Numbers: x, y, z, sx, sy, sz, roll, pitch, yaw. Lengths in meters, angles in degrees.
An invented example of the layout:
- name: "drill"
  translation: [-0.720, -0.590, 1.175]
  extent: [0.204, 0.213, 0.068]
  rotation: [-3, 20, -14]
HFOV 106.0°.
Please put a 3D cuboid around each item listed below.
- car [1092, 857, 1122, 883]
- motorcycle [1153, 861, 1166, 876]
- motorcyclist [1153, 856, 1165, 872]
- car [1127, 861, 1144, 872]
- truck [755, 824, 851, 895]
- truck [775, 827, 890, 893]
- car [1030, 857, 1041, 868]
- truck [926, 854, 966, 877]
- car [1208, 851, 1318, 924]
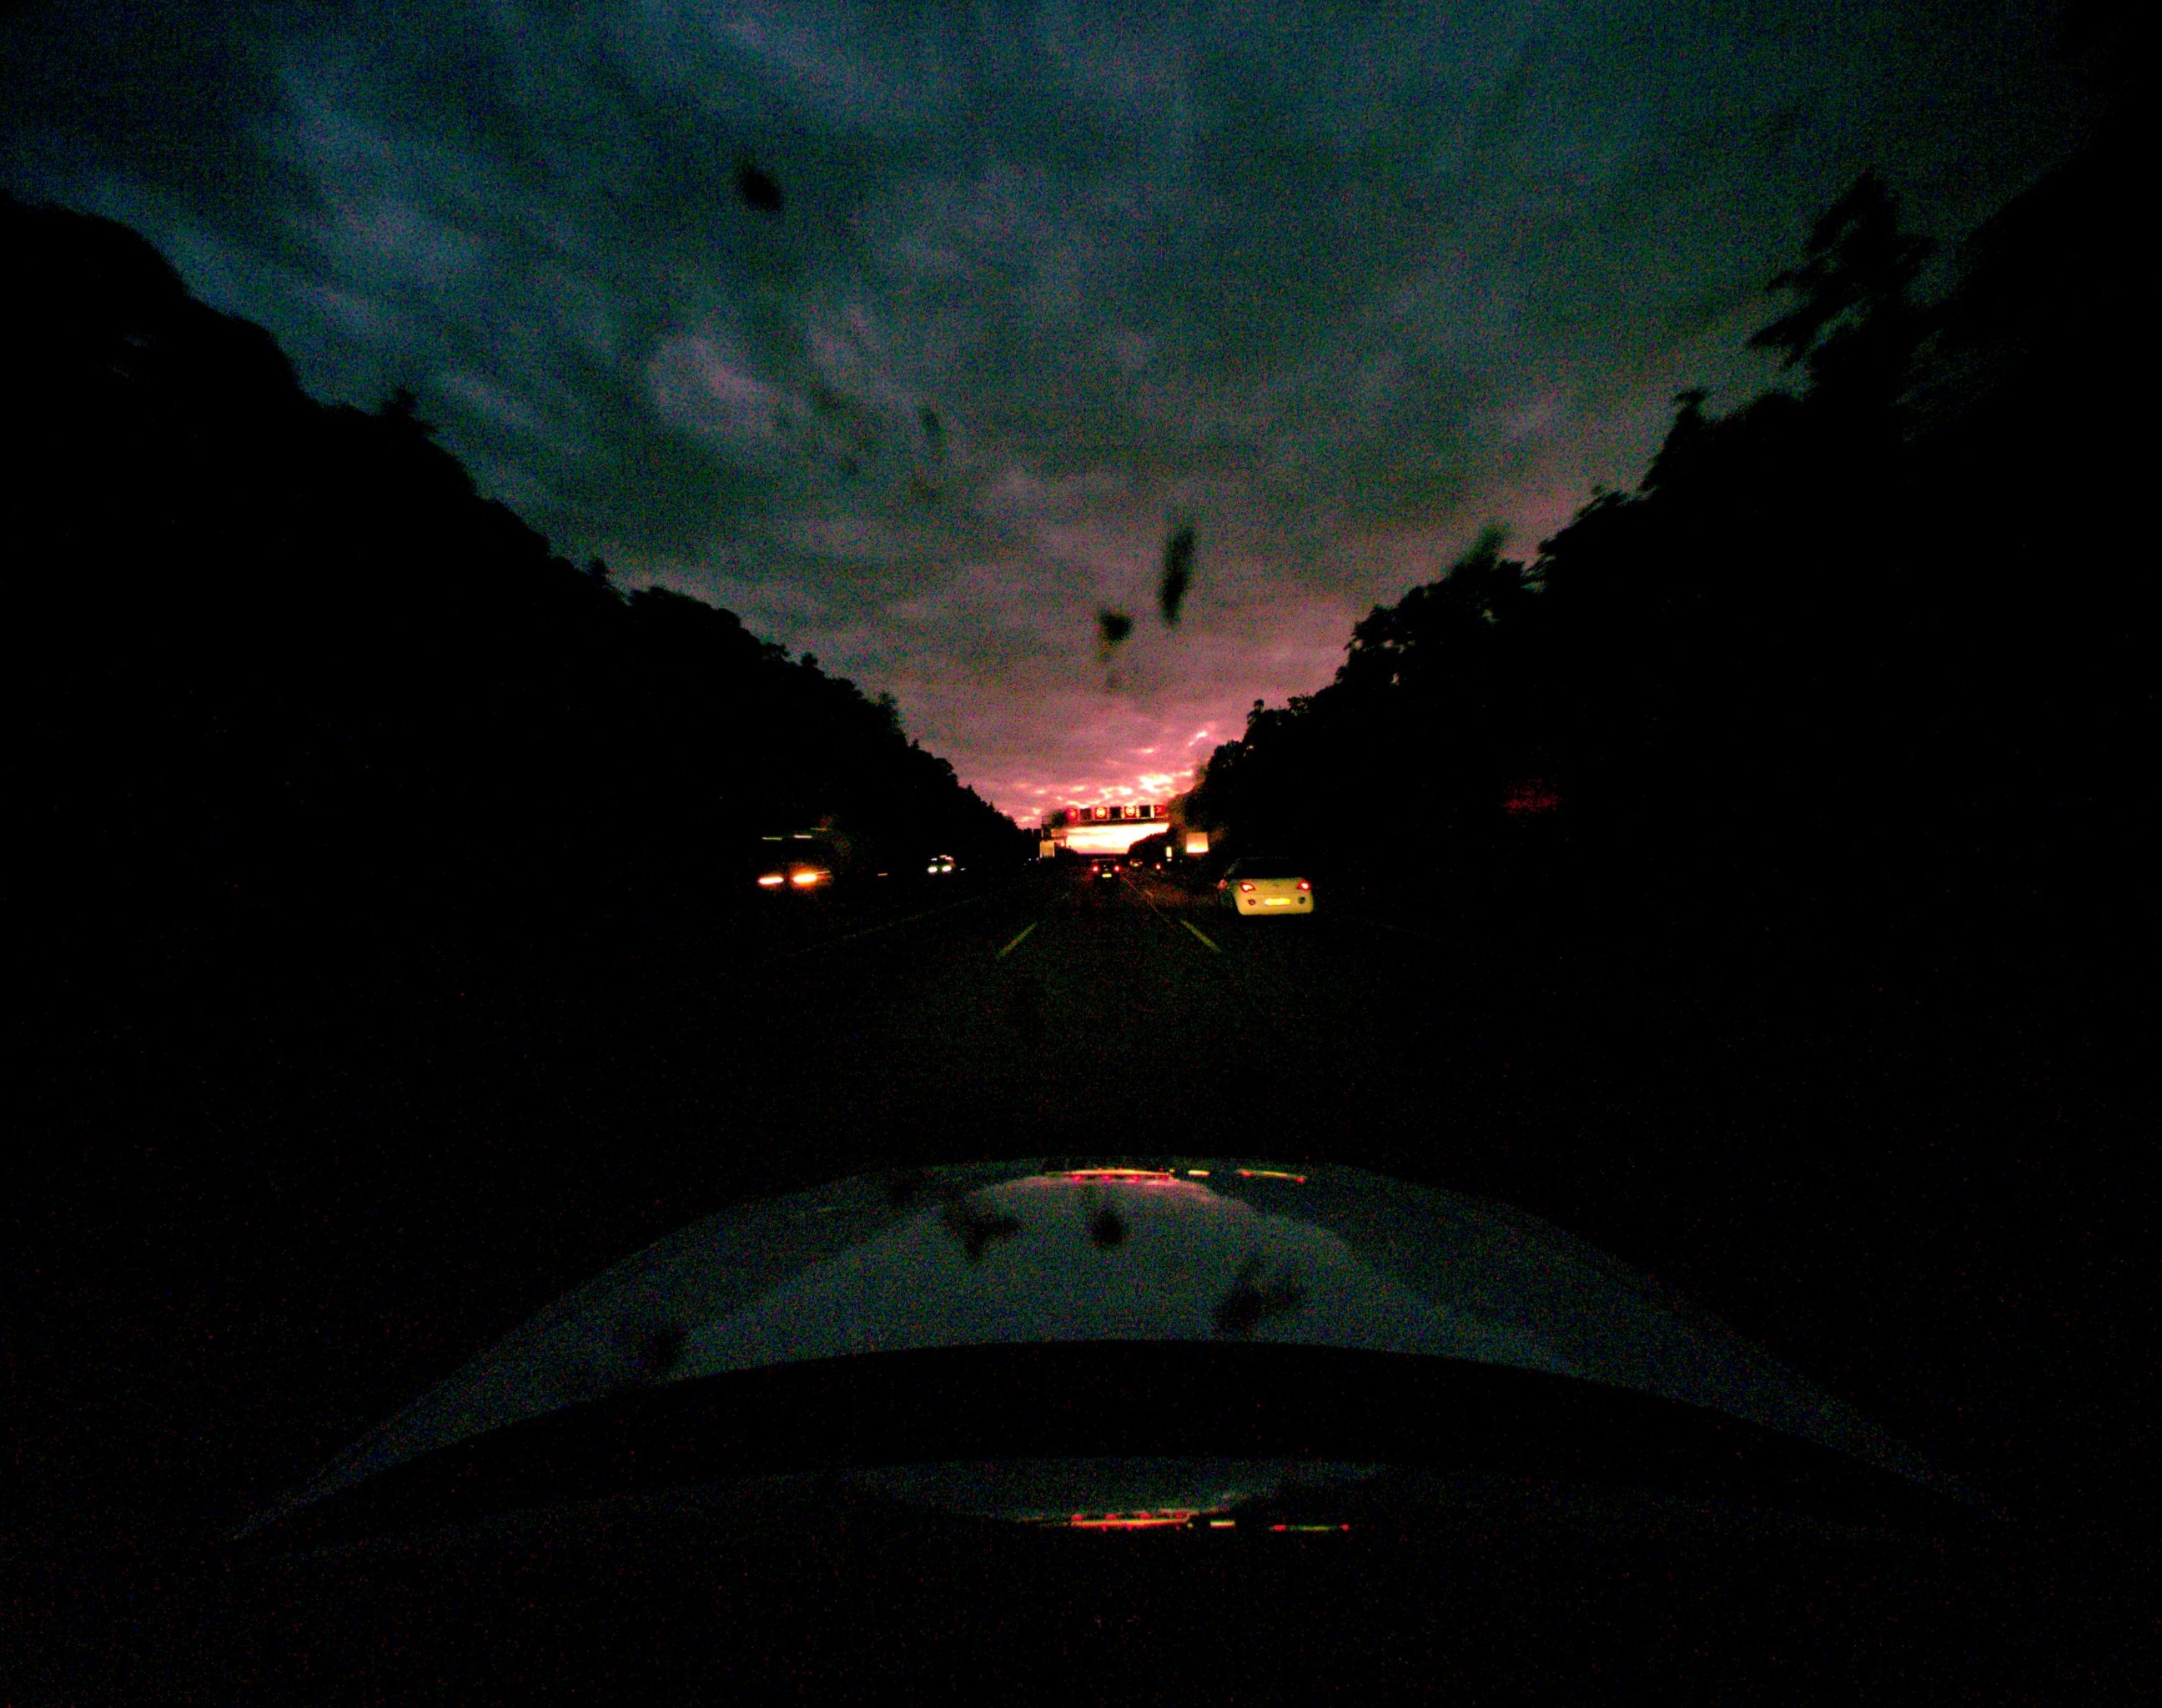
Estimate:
- name: "car"
  translation: [1.604, 0.956, 49.680]
  extent: [1.697, 1.509, 4.234]
  rotation: [-1, -1, 2]
- name: "motorcycle"
  translation: [6.428, 1.167, 66.942]
  extent: [0.826, 1.134, 2.477]
  rotation: [-2, -1, 2]
- name: "motorcyclist"
  translation: [6.415, 0.825, 66.879]
  extent: [0.826, 1.291, 1.190]
  rotation: [-2, -1, 1]
- name: "car"
  translation: [7.807, 1.797, 116.771]
  extent: [1.861, 1.494, 4.394]
  rotation: [0, -1, -3]
- name: "truck"
  translation: [-17.251, 0.340, 51.077]
  extent: [3.368, 4.003, 6.880]
  rotation: [-2, 0, 1]
- name: "truck"
  translation: [-17.126, 0.384, 57.863]
  extent: [3.345, 4.003, 14.499]
  rotation: [-2, 0, 1]
- name: "car"
  translation: [-12.016, 2.218, 215.421]
  extent: [1.973, 2.880, 7.840]
  rotation: [-2, -1, 3]
- name: "truck"
  translation: [-15.487, 1.276, 94.166]
  extent: [2.450, 2.509, 9.762]
  rotation: [-2, 0, 3]
- name: "car"
  translation: [4.136, 0.687, 19.209]
  extent: [1.818, 1.475, 4.402]
  rotation: [0, 1, 3]
